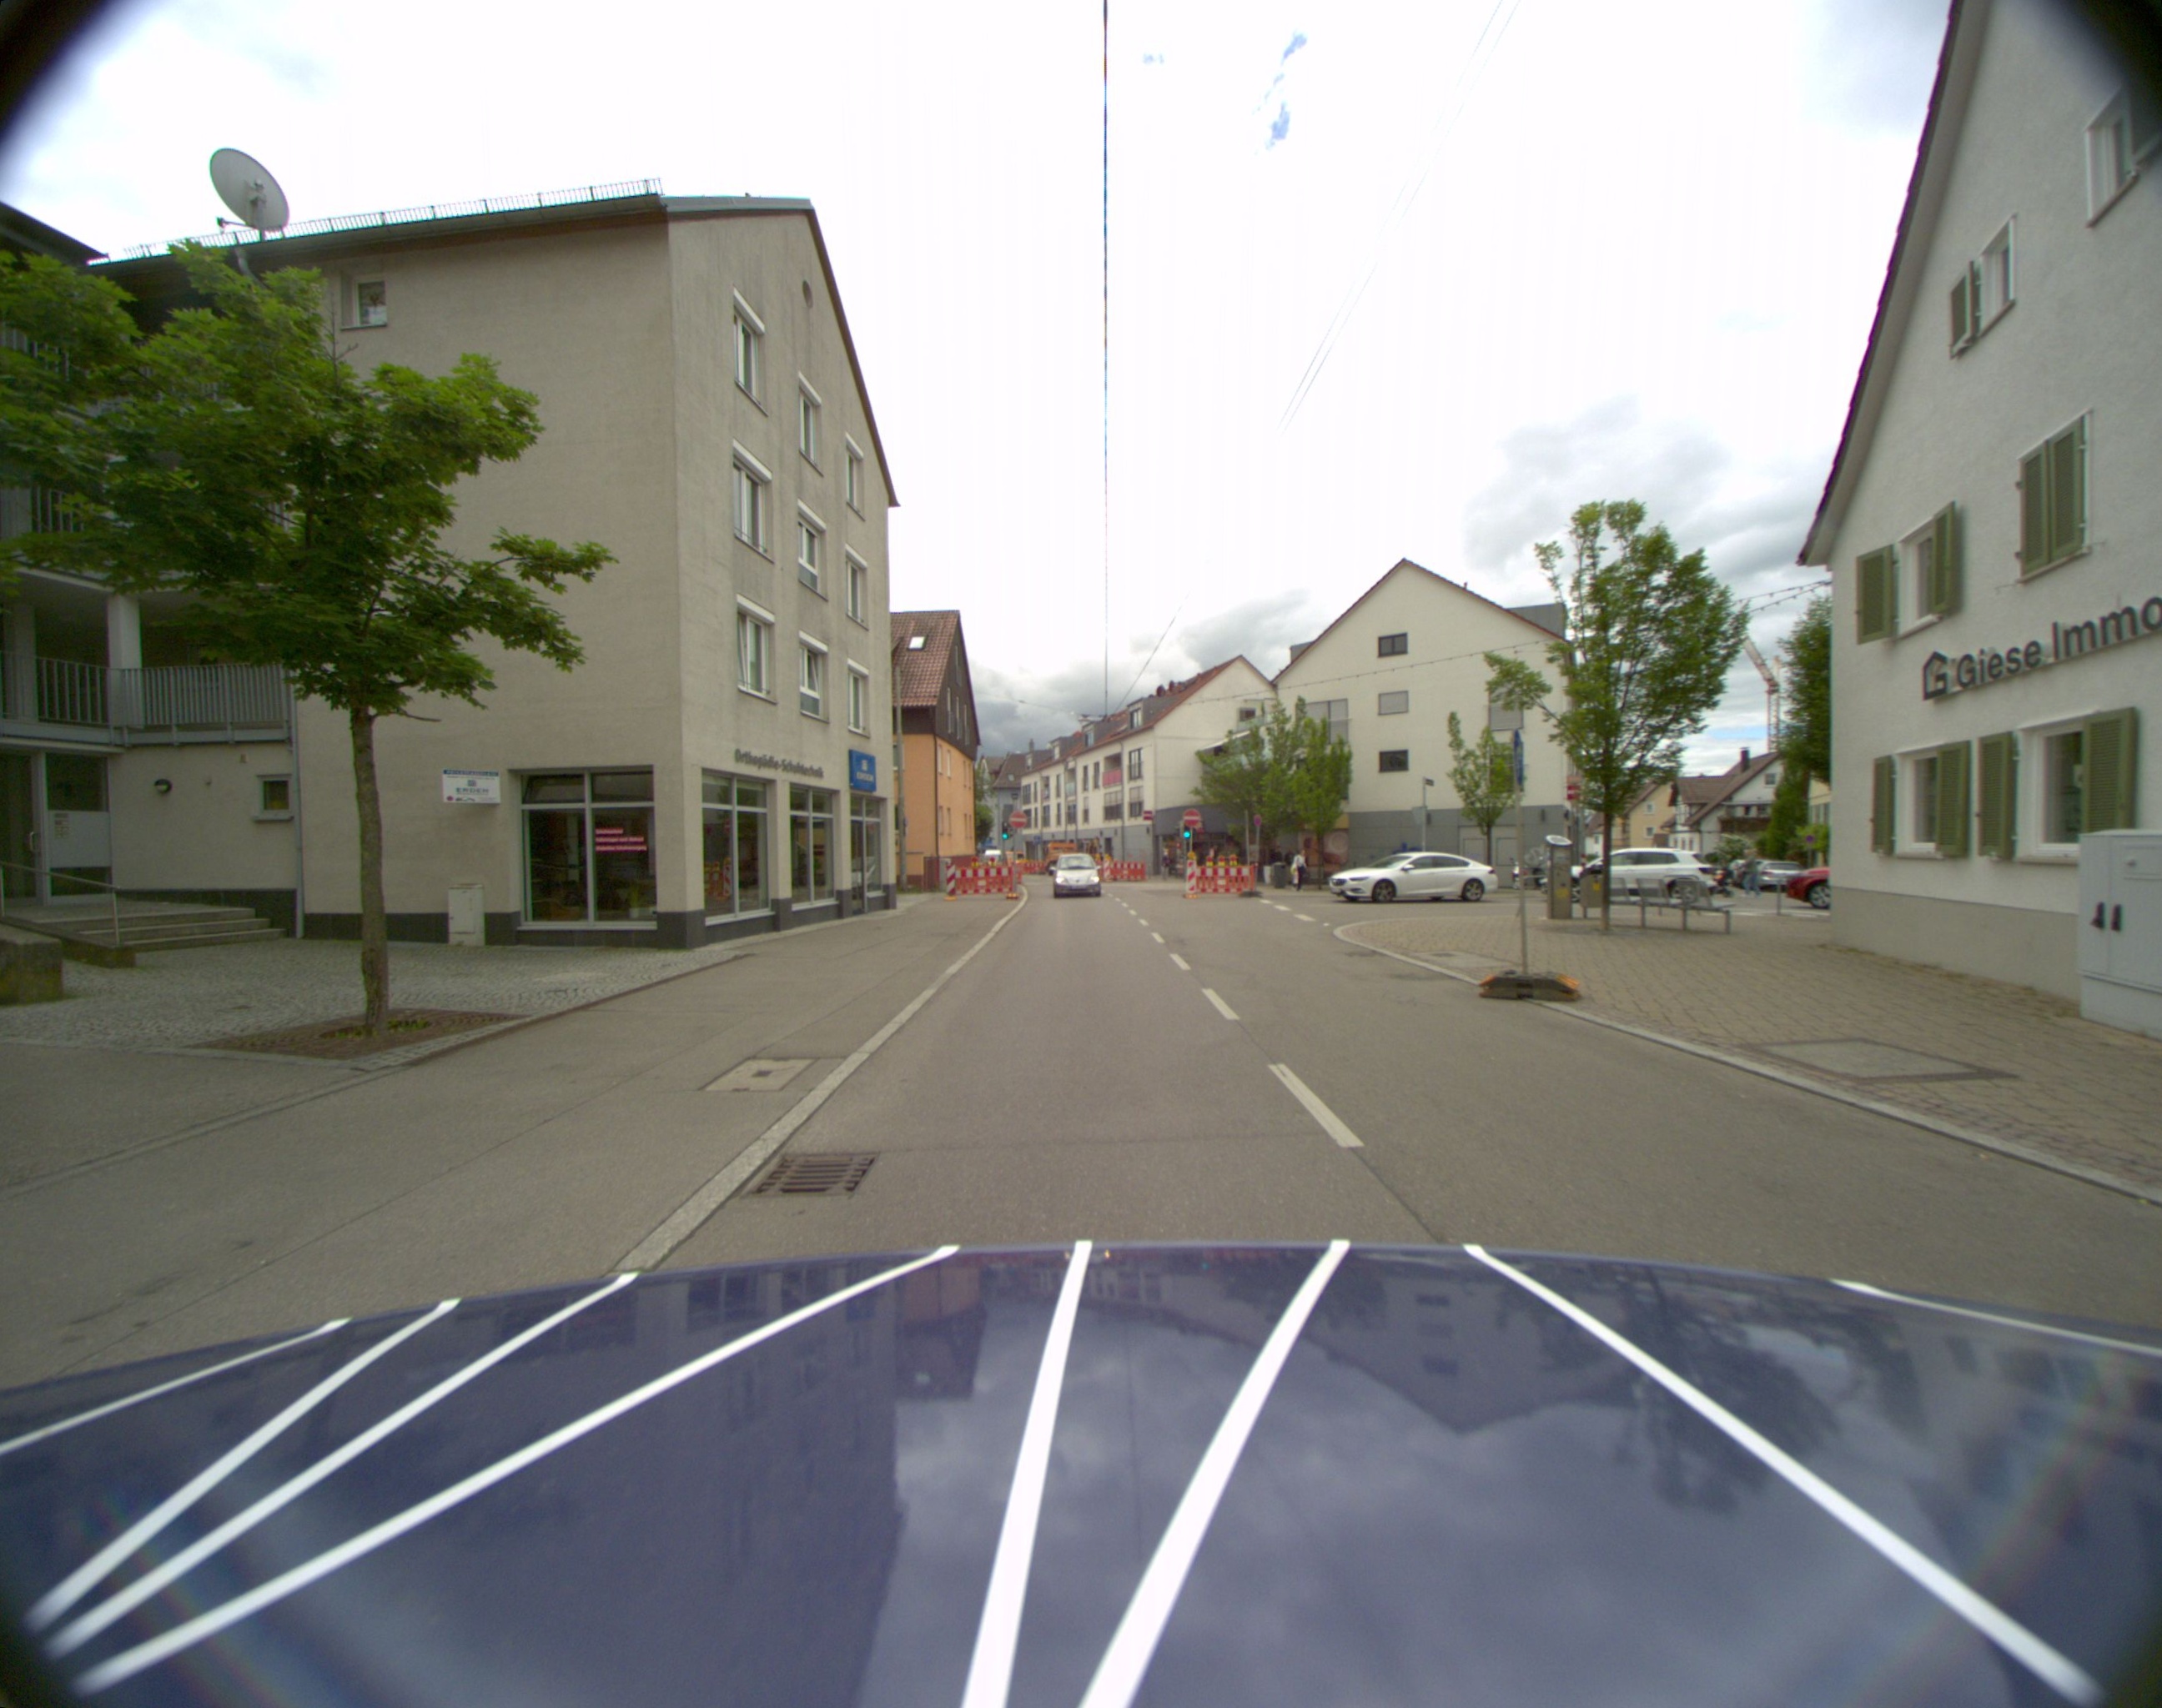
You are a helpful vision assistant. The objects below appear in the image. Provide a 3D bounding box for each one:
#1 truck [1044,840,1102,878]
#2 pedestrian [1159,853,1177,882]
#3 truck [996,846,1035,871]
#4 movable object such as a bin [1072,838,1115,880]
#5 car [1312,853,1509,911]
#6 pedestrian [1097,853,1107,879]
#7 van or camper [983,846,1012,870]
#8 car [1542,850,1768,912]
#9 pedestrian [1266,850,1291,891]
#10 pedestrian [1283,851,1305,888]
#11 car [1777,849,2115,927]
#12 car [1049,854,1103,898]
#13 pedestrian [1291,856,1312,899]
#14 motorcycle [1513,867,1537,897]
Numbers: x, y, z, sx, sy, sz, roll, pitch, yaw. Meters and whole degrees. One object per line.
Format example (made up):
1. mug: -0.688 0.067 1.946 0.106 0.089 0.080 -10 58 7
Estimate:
1. truck: -0.715 0.427 58.949 2.742 2.708 6.839 0 -1 -16
2. pedestrian: 5.187 0.790 45.418 0.835 1.702 0.815 -1 0 -10
3. truck: -6.731 0.524 77.529 2.423 2.451 6.298 0 -1 -20
4. movable object such as a bin: 0.798 0.290 52.411 1.846 2.747 4.499 0 1 -14
5. car: 9.678 0.792 22.483 4.920 1.468 2.247 -2 0 -11
6. pedestrian: 1.356 0.775 49.378 0.539 1.733 0.443 -1 0 -12
7. van or camper: -9.392 0.464 85.219 2.328 2.591 6.200 0 -1 -15
8. car: 16.076 0.735 21.536 4.905 1.548 2.026 -2 0 38
9. pedestrian: 9.450 0.770 36.351 0.818 1.914 0.782 -1 0 -38
10. pedestrian: 10.364 0.764 36.976 0.695 1.780 0.716 -1 0 -41
11. car: 20.256 0.735 18.173 2.023 1.548 4.911 -2 0 -20
12. car: -0.126 0.830 29.088 1.857 1.547 4.354 0 -1 2
13. pedestrian: 8.364 0.875 28.857 0.682 1.583 0.880 0 0 10
14. motorcycle: 18.443 1.137 31.552 0.571 1.141 1.790 -4 -1 38
